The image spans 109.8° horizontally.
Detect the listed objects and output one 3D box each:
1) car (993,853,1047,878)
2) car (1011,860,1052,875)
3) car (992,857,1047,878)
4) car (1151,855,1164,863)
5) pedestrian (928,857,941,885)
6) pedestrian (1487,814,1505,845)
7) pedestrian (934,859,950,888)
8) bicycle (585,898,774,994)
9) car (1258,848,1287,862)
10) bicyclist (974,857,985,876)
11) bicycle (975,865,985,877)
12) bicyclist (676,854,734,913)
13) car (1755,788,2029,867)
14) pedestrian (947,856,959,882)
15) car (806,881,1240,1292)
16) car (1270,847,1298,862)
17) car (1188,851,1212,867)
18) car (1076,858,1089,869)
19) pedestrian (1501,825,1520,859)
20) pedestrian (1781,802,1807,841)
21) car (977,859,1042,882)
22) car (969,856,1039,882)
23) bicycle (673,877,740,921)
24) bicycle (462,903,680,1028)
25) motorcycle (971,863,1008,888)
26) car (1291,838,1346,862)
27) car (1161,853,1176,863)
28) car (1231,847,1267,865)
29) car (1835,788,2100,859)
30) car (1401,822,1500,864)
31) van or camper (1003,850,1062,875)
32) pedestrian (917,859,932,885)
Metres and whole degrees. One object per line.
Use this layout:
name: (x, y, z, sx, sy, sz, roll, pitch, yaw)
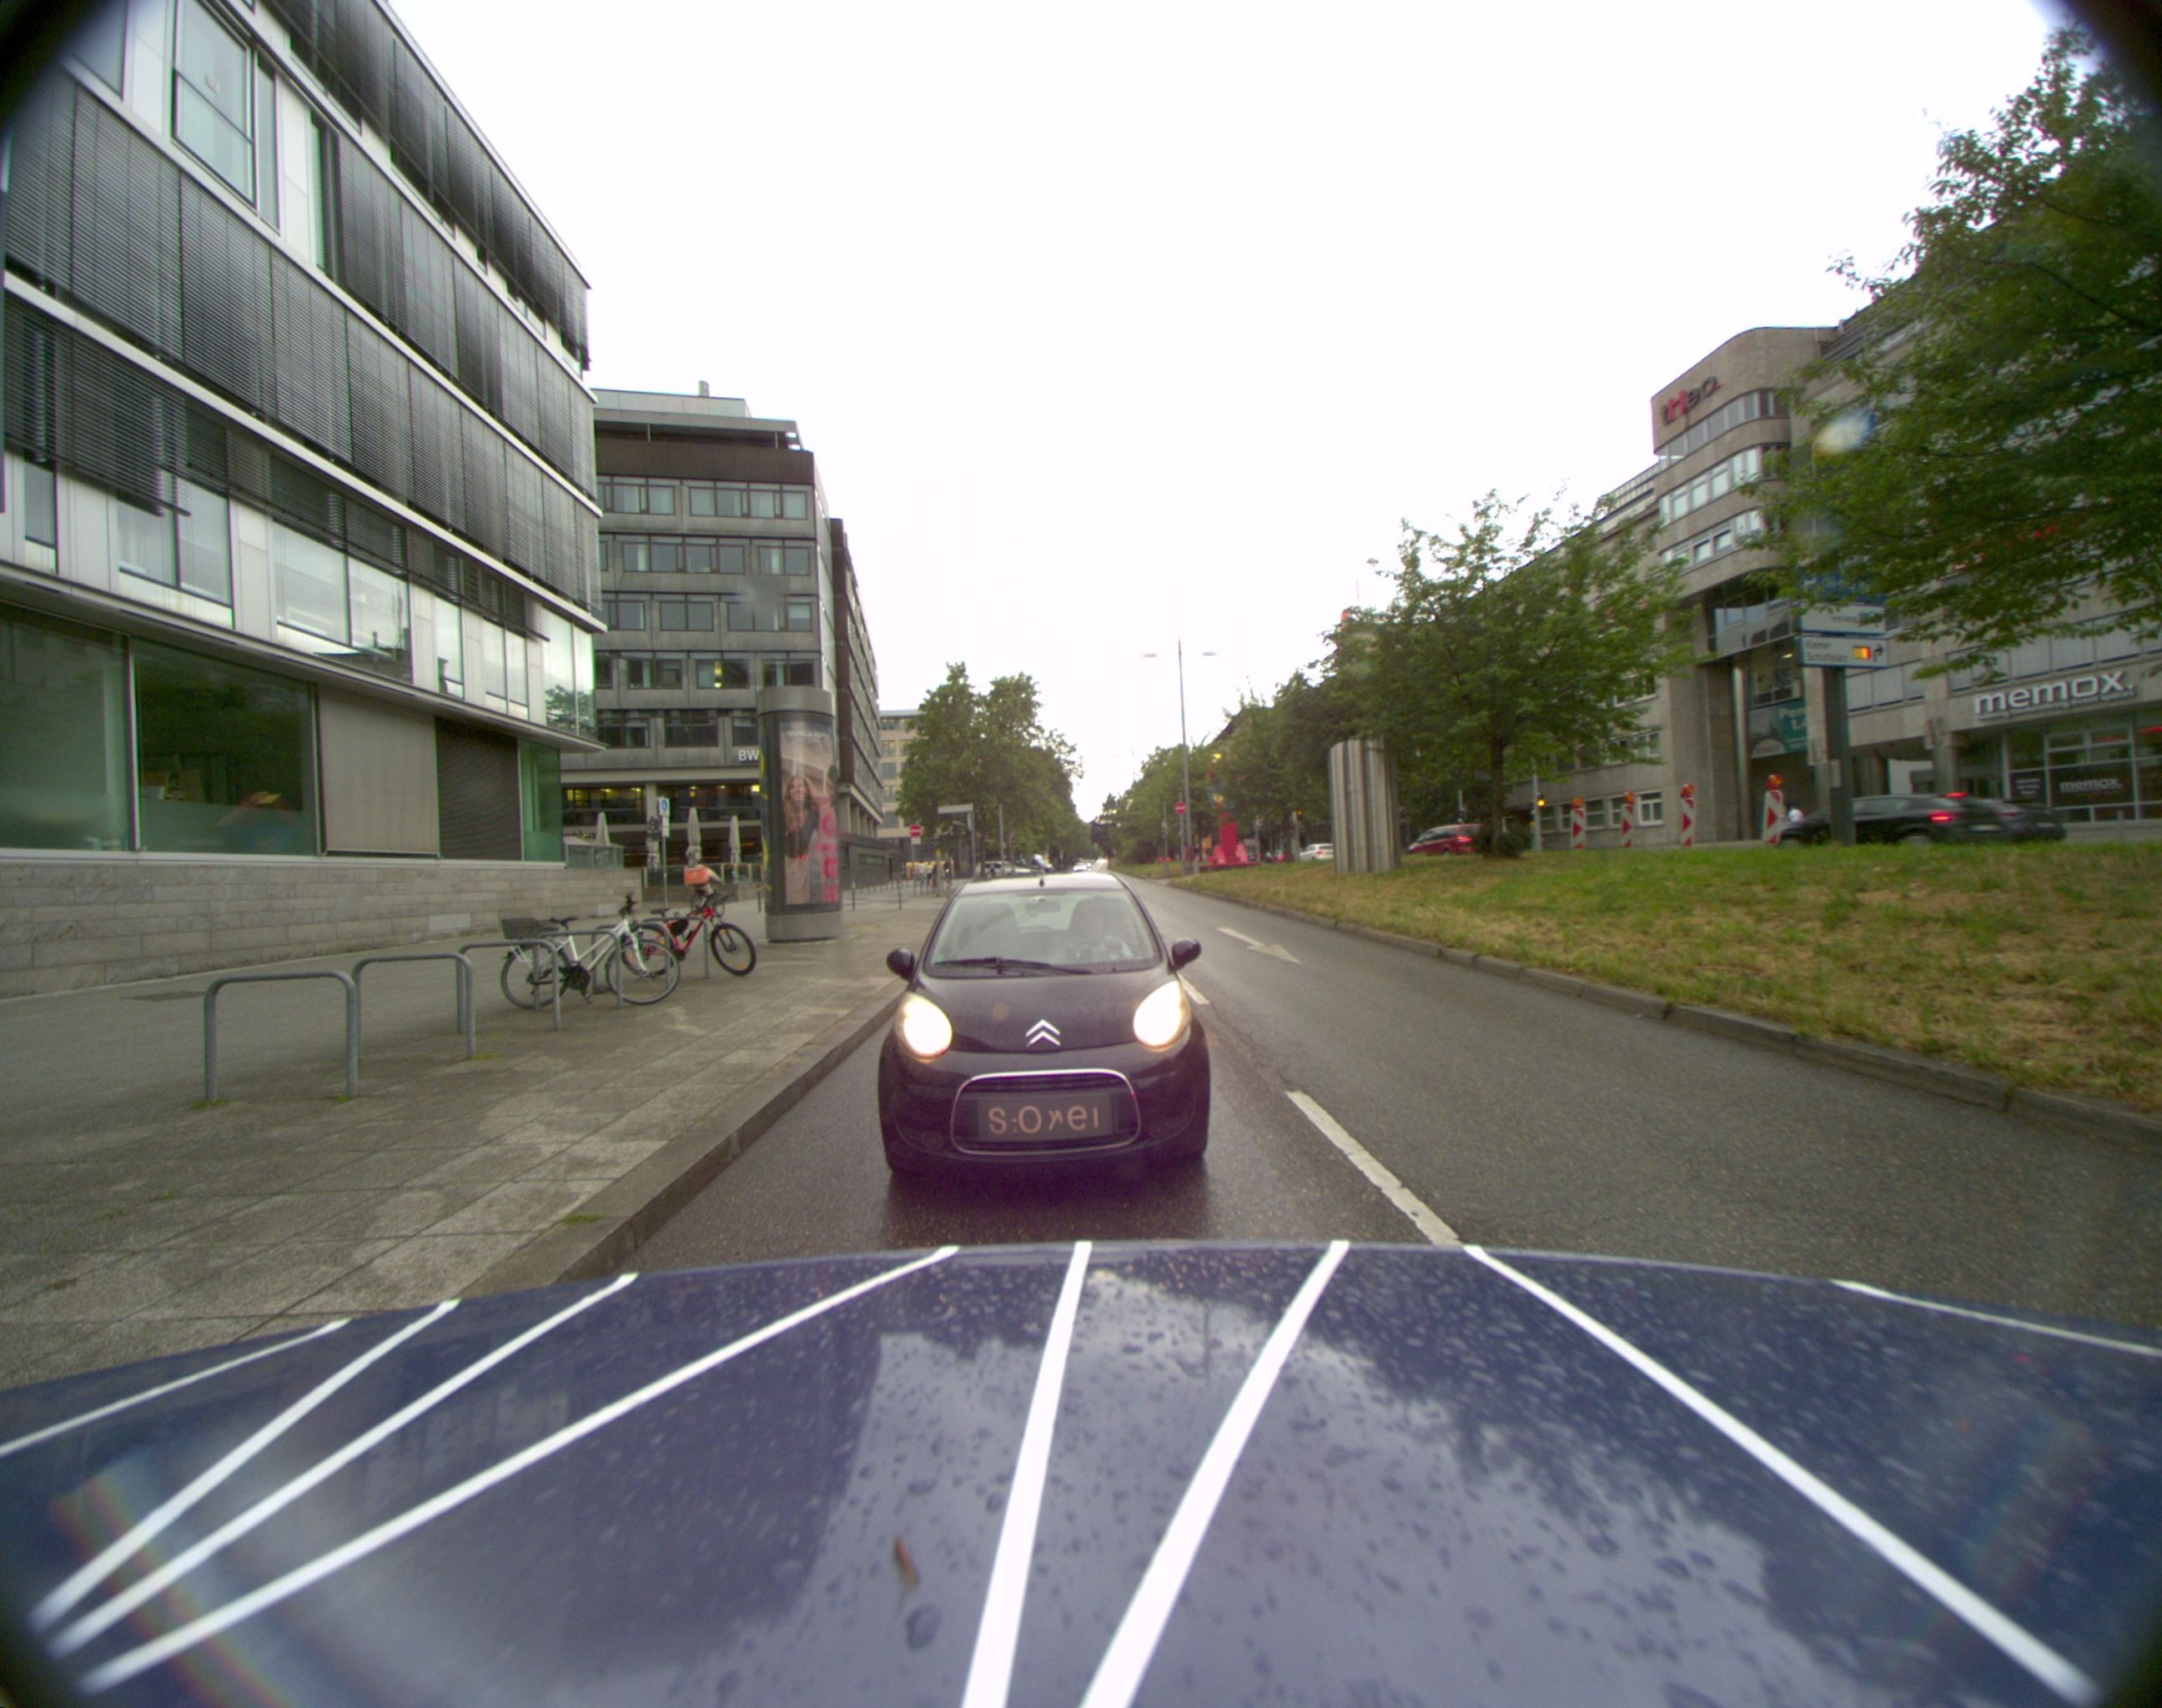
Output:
car: (-5.537, 1.062, 69.243, 4.507, 1.981, 1.925, -4, 0, 29)
car: (-5.386, 1.448, 82.690, 4.052, 1.415, 1.711, -4, 0, 29)
car: (-5.373, 1.202, 66.361, 4.381, 1.528, 1.919, -4, 0, 27)
car: (15.363, 1.034, 152.783, 1.866, 1.421, 4.566, -2, 0, -1)
pedestrian: (-10.848, 1.237, 56.245, 0.853, 2.027, 0.752, -3, 0, -13)
pedestrian: (23.067, -1.358, 42.240, 0.607, 1.619, 0.620, -3, 0, 1)
pedestrian: (-8.298, 1.157, 45.328, 0.722, 1.675, 0.528, -3, 0, -28)
bicycle: (-5.137, 1.170, 9.803, 1.988, 1.097, 0.808, -2, 0, 4)
car: (20.538, 0.120, 81.636, 1.791, 1.478, 4.574, -2, 0, -3)
bicyclist: (-10.367, 1.276, 77.668, 0.812, 1.739, 1.079, -6, 2, -3)
bicycle: (-10.318, 1.691, 77.774, 0.777, 1.132, 1.978, -6, 0, -3)
bicyclist: (-10.792, 0.821, 21.851, 1.014, 1.573, 1.135, -5, 1, -5)
car: (18.379, -0.542, 17.531, 1.810, 1.477, 3.998, -4, 0, -6)
pedestrian: (-9.572, 1.137, 56.651, 0.721, 1.873, 0.656, -3, 0, -6)
car: (-0.270, 0.977, 4.908, 1.634, 1.408, 3.834, -3, 0, -2)
car: (20.568, 0.072, 77.079, 1.690, 1.493, 3.692, -2, 0, -3)
car: (13.804, 0.560, 88.241, 1.950, 1.690, 3.999, -3, 0, -3)
car: (0.149, 1.524, 120.181, 1.791, 1.736, 4.574, -2, 0, -3)
pedestrian: (23.263, -0.626, 41.150, 0.529, 1.777, 0.721, -3, 0, 1)
pedestrian: (33.919, -1.544, 36.129, 0.722, 1.777, 0.528, -3, 0, -15)
car: (-5.577, 1.268, 58.764, 4.711, 1.465, 1.920, -4, 0, 32)
car: (-5.643, 1.106, 55.596, 4.792, 1.640, 1.920, -4, 0, 30)
bicycle: (-10.742, 1.255, 21.889, 1.011, 1.107, 2.066, -2, 1, -4)
bicycle: (-5.298, 1.147, 7.951, 1.840, 1.190, 0.660, -1, 0, 4)
motorcycle: (-5.545, 1.289, 46.043, 2.087, 1.349, 0.677, -3, 0, 7)
car: (15.695, -0.259, 50.466, 1.825, 1.466, 4.190, -3, 0, -8)
car: (14.480, 0.679, 126.347, 1.866, 1.421, 4.132, -2, 0, -1)
car: (15.078, 0.177, 68.446, 1.873, 1.466, 3.997, -3, 0, -8)
car: (25.124, -0.765, 21.880, 1.867, 1.715, 4.791, -2, 0, -3)
car: (16.636, -0.446, 34.508, 1.730, 1.717, 4.579, -3, 0, -8)
van or camper: (-5.522, 1.016, 86.356, 6.250, 2.432, 2.319, -4, 0, 30)
pedestrian: (-11.584, 1.331, 56.284, 0.803, 1.857, 0.898, -3, 0, 0)
